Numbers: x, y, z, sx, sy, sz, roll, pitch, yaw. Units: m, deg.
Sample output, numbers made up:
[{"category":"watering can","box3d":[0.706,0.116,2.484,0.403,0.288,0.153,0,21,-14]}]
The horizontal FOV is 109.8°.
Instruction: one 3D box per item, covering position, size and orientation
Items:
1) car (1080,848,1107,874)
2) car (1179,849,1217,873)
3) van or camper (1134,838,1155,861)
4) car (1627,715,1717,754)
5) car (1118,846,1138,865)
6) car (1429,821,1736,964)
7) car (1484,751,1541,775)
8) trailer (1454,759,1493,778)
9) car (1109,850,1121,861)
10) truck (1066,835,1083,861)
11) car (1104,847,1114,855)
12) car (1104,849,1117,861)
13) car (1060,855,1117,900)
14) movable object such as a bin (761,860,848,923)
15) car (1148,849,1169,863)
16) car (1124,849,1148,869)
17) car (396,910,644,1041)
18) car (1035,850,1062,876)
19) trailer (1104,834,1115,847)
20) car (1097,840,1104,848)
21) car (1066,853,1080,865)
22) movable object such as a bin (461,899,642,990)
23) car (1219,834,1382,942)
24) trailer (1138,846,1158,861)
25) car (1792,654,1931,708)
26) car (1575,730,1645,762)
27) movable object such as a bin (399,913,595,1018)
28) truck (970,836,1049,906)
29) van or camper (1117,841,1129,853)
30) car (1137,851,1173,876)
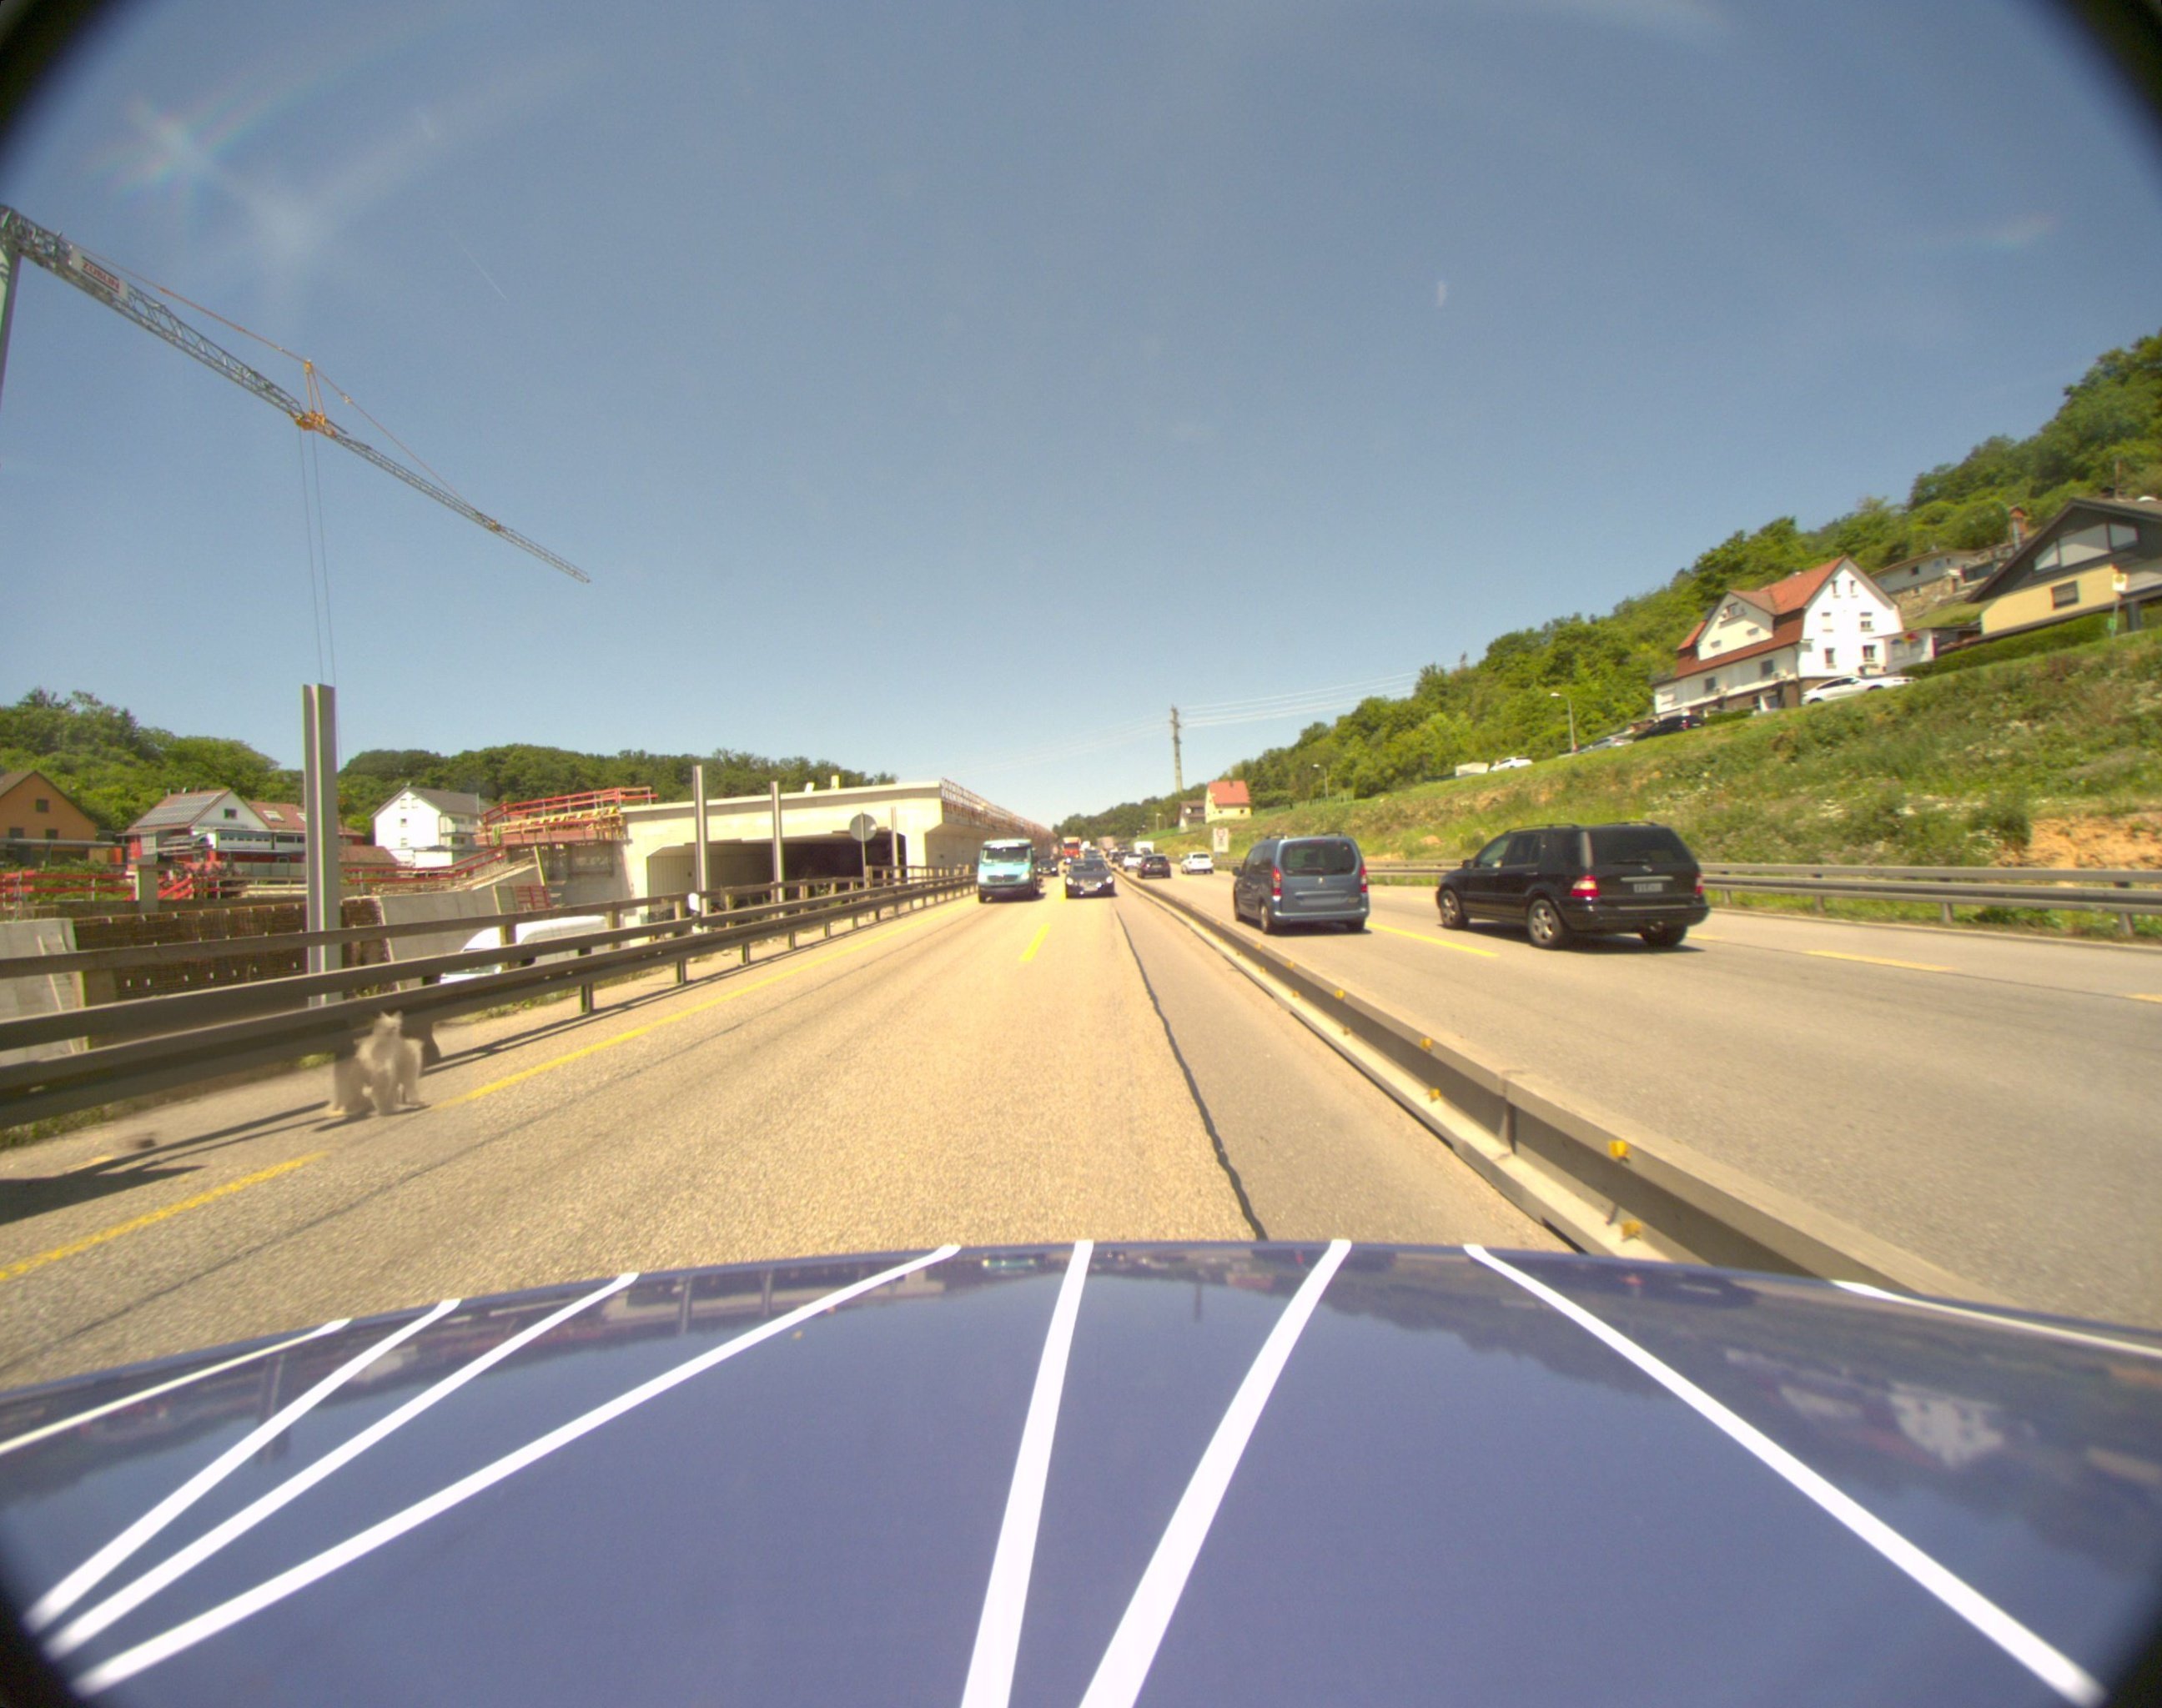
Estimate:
[{"category":"car","box3d":[0.977,0.519,58.333,1.884,1.805,4.250,-2,1,3]},{"category":"car","box3d":[7.826,0.428,51.325,1.808,1.488,4.599,-2,0,0]},{"category":"van or camper","box3d":[8.894,-0.681,106.578,2.297,3.048,6.923,-2,0,1]},{"category":"car","box3d":[40.651,-8.184,52.466,2.077,1.997,4.970,-2,1,-4]},{"category":"car","box3d":[5.447,0.136,87.834,1.915,2.002,4.905,-2,0,0]},{"category":"car","box3d":[7.338,0.474,11.806,1.832,1.755,4.496,-1,0,1]},{"category":"car","box3d":[38.541,-8.145,68.034,2.000,1.646,4.548,-3,1,-9]},{"category":"trailer","box3d":[37.798,-8.235,73.224,1.908,1.507,3.034,-3,1,-10]},{"category":"car","box3d":[4.703,0.189,104.317,1.487,1.496,2.805,-2,0,1]},{"category":"truck","box3d":[-1.068,-1.125,130.523,2.750,4.222,9.093,-2,1,1]},{"category":"car","box3d":[5.611,-0.626,152.924,1.847,1.467,4.834,-2,0,1]},{"category":"car","box3d":[4.832,0.140,124.872,1.842,1.817,5.040,-2,0,0]},{"category":"car","box3d":[0.316,0.852,29.430,1.998,1.441,4.601,-2,1,1]},{"category":"movable object such as a bin","box3d":[-20.701,2.644,57.595,2.961,4.040,9.153,-2,1,1]},{"category":"car","box3d":[8.410,0.190,82.791,1.814,1.423,4.555,-3,0,1]},{"category":"car","box3d":[4.823,0.450,67.250,1.811,1.630,4.172,-2,0,0]},{"category":"car","box3d":[-17.362,3.587,24.280,2.149,2.840,7.023,-2,1,4]},{"category":"car","box3d":[-2.577,0.690,61.016,1.885,1.805,4.249,-2,1,1]},{"category":"trailer","box3d":[8.742,-4.157,233.342,2.937,3.966,8.704,-2,1,-1]},{"category":"car","box3d":[5.949,-3.014,228.206,1.998,2.002,3.999,-2,1,0]},{"category":"car","box3d":[-1.170,0.719,109.107,1.883,1.532,4.280,-2,1,1]},{"category":"movable object such as a bin","box3d":[-25.018,4.266,35.918,7.141,2.883,3.503,-11,-2,23]},{"category":"car","box3d":[4.154,0.571,15.263,1.850,1.767,4.882,-2,0,0]},{"category":"trailer","box3d":[8.854,-0.075,100.664,2.106,1.883,5.141,-2,0,1]},{"category":"car","box3d":[41.574,-9.192,40.676,1.999,1.784,5.008,-2,1,-6]},{"category":"car","box3d":[39.983,-8.146,57.564,1.999,1.861,4.427,-2,1,-5]},{"category":"movable object such as a bin","box3d":[-20.108,3.730,26.622,2.149,2.661,5.500,-2,1,5]},{"category":"truck","box3d":[-2.647,0.523,30.104,2.139,2.344,7.432,-2,1,1]},{"category":"van or camper","box3d":[9.085,-1.465,165.501,2.145,2.558,6.564,-3,0,1]},{"category":"car","box3d":[4.492,0.539,46.543,1.802,1.458,4.355,-1,0,1]}]
